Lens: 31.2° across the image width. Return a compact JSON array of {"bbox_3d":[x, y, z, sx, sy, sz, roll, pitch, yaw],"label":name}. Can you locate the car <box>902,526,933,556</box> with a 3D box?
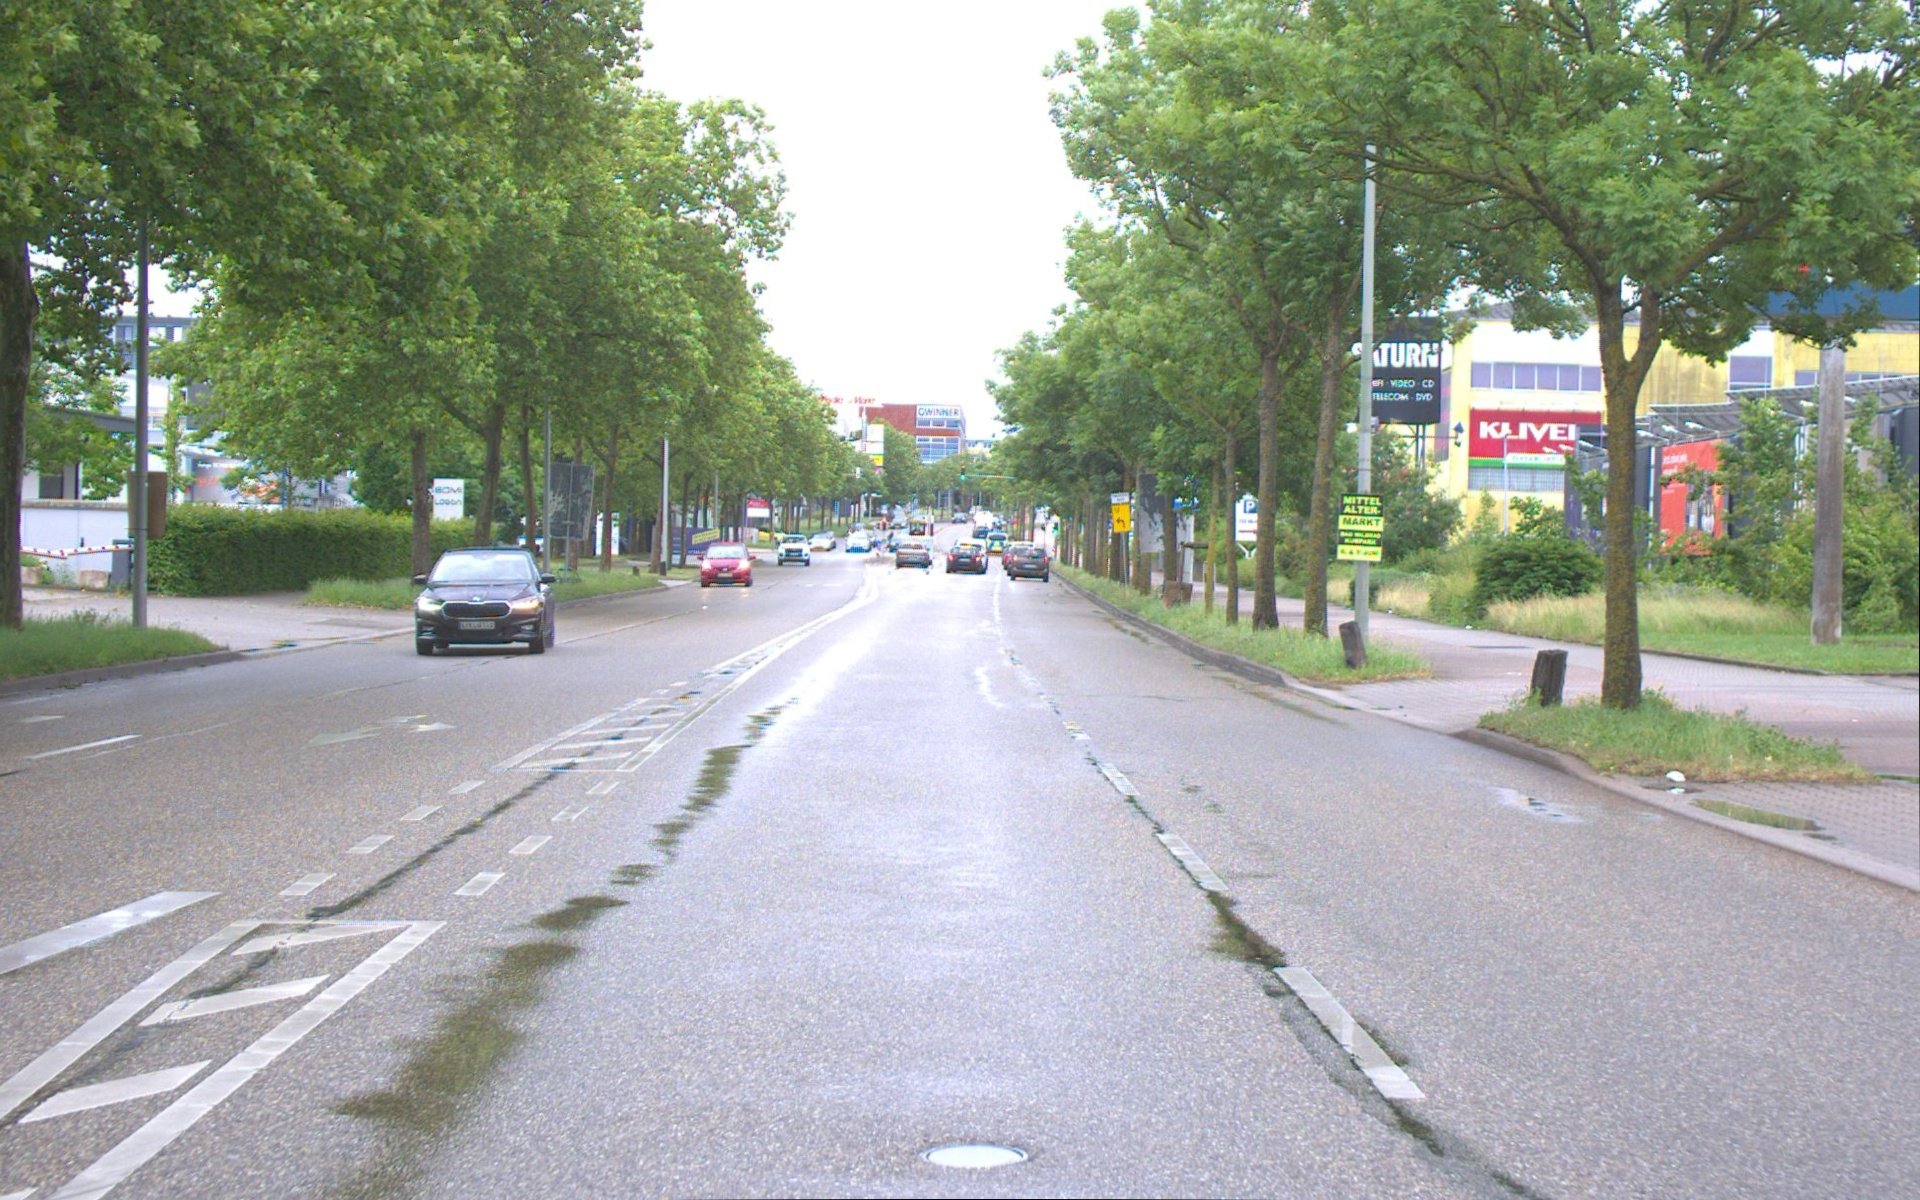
[{"bbox_3d":[-2.705,-3.765,217.966,1.891,1.870,4.124,1,1,0],"label":"car"}]

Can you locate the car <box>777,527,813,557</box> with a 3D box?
[{"bbox_3d":[-9.700,-3.421,202.156,1.704,1.731,4.000,1,1,3],"label":"car"}]

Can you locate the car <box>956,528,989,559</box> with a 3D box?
[{"bbox_3d":[0.713,-3.193,193.983,1.745,1.731,4.000,1,1,2],"label":"car"}]

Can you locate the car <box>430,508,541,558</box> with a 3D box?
[{"bbox_3d":[-18.371,-2.590,133.210,3.987,1.918,1.826,1,0,1],"label":"car"}]

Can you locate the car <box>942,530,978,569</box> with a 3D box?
[{"bbox_3d":[0.021,-2.661,180.590,1.745,2.007,4.000,1,1,2],"label":"car"}]

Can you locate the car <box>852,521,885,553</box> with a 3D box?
[{"bbox_3d":[-5.765,-3.952,216.378,1.993,2.007,4.000,1,1,0],"label":"car"}]

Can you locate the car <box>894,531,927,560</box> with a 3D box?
[{"bbox_3d":[-2.925,-3.237,203.274,1.745,1.695,4.000,1,1,2],"label":"car"}]

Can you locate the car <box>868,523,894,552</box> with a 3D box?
[{"bbox_3d":[-5.641,-4.452,245.246,1.827,2.007,4.000,1,1,-2],"label":"car"}]

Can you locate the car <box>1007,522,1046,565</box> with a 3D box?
[{"bbox_3d":[3.149,-2.663,162.399,1.745,2.007,4.000,1,1,2],"label":"car"}]

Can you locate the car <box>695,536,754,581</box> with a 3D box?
[{"bbox_3d":[-8.098,-1.427,118.300,1.726,1.512,3.821,1,1,0],"label":"car"}]

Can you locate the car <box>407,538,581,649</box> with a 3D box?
[{"bbox_3d":[-6.374,-0.120,47.406,1.804,1.458,3.846,0,1,1],"label":"car"}]
